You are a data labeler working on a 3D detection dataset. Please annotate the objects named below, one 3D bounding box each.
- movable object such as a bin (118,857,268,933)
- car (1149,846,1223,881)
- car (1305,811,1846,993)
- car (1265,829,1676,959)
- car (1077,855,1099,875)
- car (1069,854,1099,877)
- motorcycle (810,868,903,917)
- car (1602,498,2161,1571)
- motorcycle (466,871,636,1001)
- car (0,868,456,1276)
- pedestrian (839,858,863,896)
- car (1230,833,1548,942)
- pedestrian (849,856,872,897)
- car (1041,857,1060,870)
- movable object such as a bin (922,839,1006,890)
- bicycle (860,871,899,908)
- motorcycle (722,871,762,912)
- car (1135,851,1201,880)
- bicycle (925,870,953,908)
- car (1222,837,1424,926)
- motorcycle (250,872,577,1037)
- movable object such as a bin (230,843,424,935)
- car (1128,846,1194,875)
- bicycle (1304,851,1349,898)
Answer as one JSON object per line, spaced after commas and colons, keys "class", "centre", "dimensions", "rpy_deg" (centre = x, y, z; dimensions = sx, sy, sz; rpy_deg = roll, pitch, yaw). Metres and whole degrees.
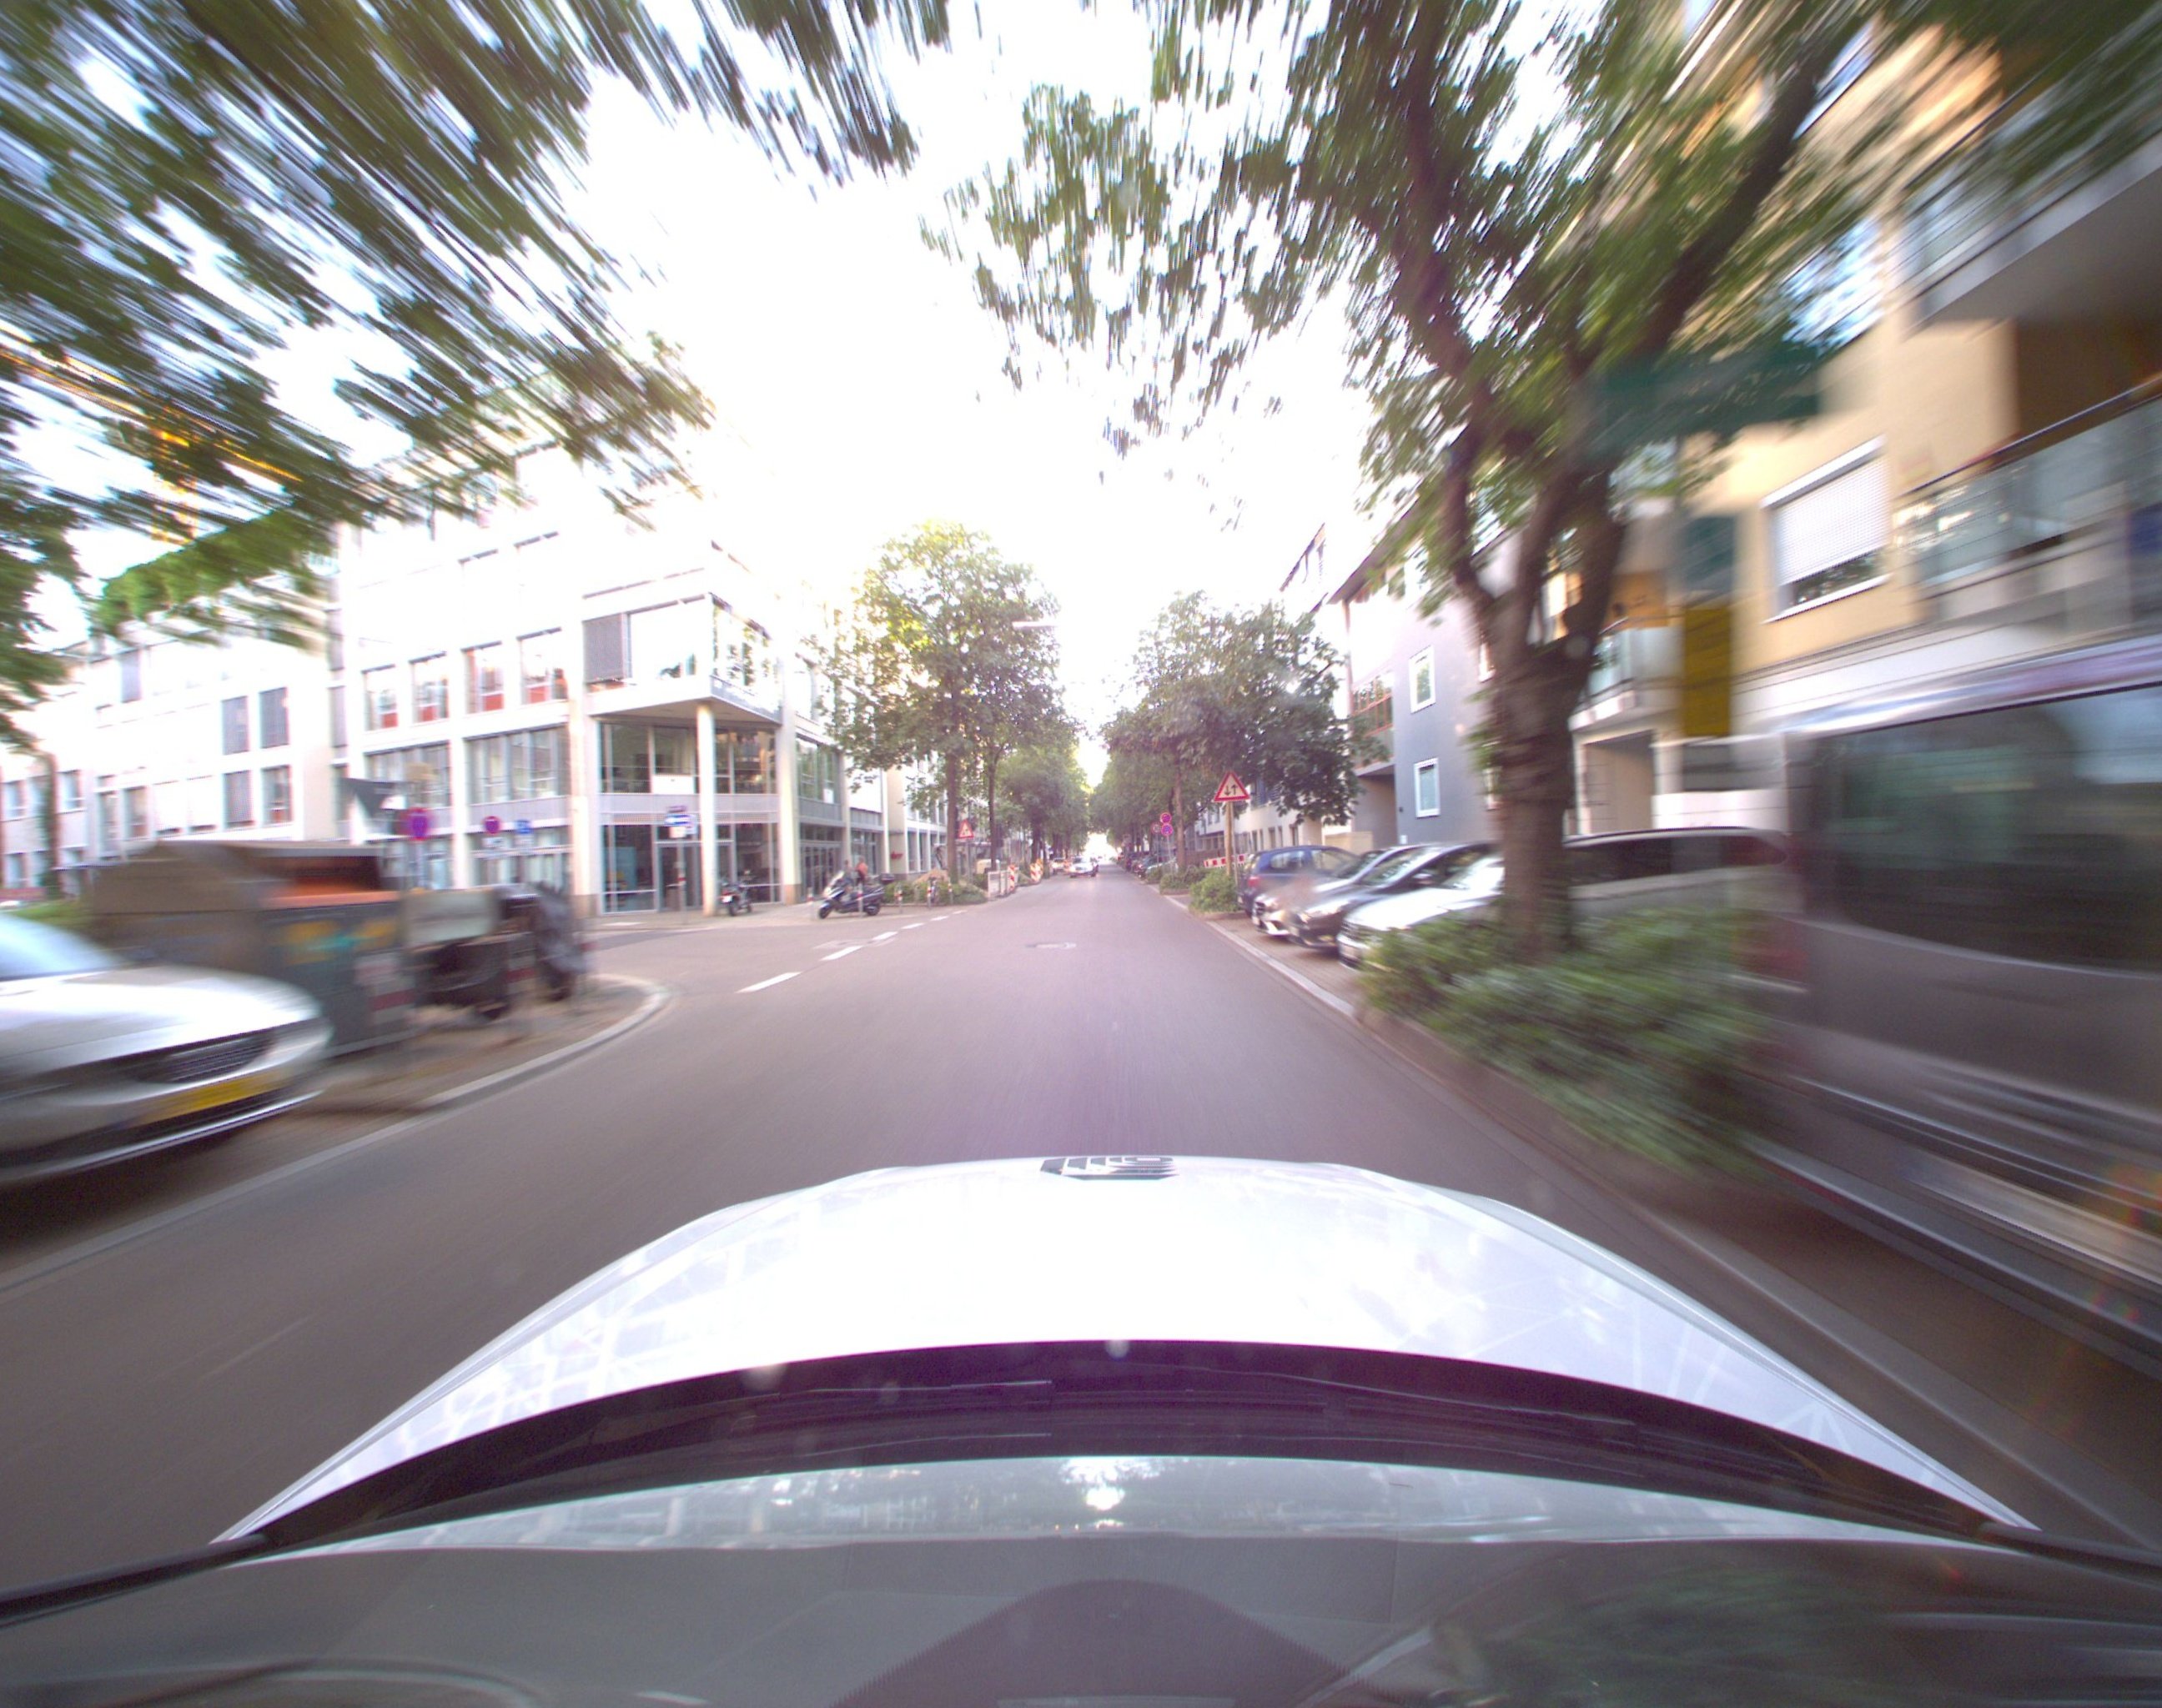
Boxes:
{"class": "movable object such as a bin", "centre": [-32.112, 1.457, 29.474], "dimensions": [4.049, 2.540, 2.297], "rpy_deg": [-2, 0, 22]}
{"class": "car", "centre": [5.916, 0.526, 46.187], "dimensions": [3.968, 1.805, 2.003], "rpy_deg": [-2, 0, 5]}
{"class": "car", "centre": [5.011, 0.460, 8.775], "dimensions": [4.607, 1.502, 1.961], "rpy_deg": [-3, 0, -1]}
{"class": "car", "centre": [5.166, 0.512, 11.375], "dimensions": [4.763, 1.520, 1.992], "rpy_deg": [-2, 0, 2]}
{"class": "car", "centre": [0.682, 1.026, 76.263], "dimensions": [1.942, 1.714, 4.703], "rpy_deg": [-2, 0, 1]}
{"class": "car", "centre": [0.192, 0.858, 61.662], "dimensions": [2.005, 1.613, 4.115], "rpy_deg": [-2, 0, -3]}
{"class": "motorcycle", "centre": [-6.594, 1.106, 23.987], "dimensions": [2.368, 1.281, 1.055], "rpy_deg": [-3, 0, -39]}
{"class": "car", "centre": [4.361, 0.263, 2.105], "dimensions": [4.585, 2.066, 2.197], "rpy_deg": [-3, 0, 0]}
{"class": "motorcycle", "centre": [-6.543, 0.956, 10.012], "dimensions": [2.225, 1.420, 0.858], "rpy_deg": [-2, 0, 32]}
{"class": "car", "centre": [-6.419, 0.937, 4.339], "dimensions": [4.599, 1.552, 2.077], "rpy_deg": [-2, 0, 3]}
{"class": "pedestrian", "centre": [-9.687, 0.959, 34.295], "dimensions": [0.767, 1.536, 0.643], "rpy_deg": [-2, 0, 1]}
{"class": "car", "centre": [5.008, 0.523, 13.773], "dimensions": [4.605, 1.571, 2.011], "rpy_deg": [-2, 0, 1]}
{"class": "pedestrian", "centre": [-9.162, 0.925, 33.845], "dimensions": [0.736, 1.690, 0.607], "rpy_deg": [-2, 0, 3]}
{"class": "car", "centre": [-3.260, 0.989, 86.922], "dimensions": [1.989, 1.288, 3.996], "rpy_deg": [-2, 0, -3]}
{"class": "movable object such as a bin", "centre": [-5.994, 0.534, 42.209], "dimensions": [4.039, 2.383, 2.780], "rpy_deg": [-2, 0, -4]}
{"class": "bicycle", "centre": [-6.820, 1.185, 27.661], "dimensions": [0.680, 1.152, 1.982], "rpy_deg": [-2, 0, 3]}
{"class": "motorcycle", "centre": [-10.659, 1.145, 25.677], "dimensions": [0.556, 1.172, 2.302], "rpy_deg": [-2, 0, -8]}
{"class": "car", "centre": [5.368, 0.699, 50.775], "dimensions": [3.970, 1.585, 2.002], "rpy_deg": [-2, 0, 3]}
{"class": "bicycle", "centre": [-4.791, 1.174, 27.650], "dimensions": [0.681, 1.152, 1.978], "rpy_deg": [-2, 0, -4]}
{"class": "car", "centre": [4.773, 0.523, 16.438], "dimensions": [3.526, 1.564, 1.832], "rpy_deg": [-2, 0, 1]}
{"class": "motorcycle", "centre": [-6.423, 0.937, 7.935], "dimensions": [2.442, 1.420, 0.912], "rpy_deg": [-2, 0, 3]}
{"class": "movable object such as a bin", "centre": [-24.071, 1.111, 25.999], "dimensions": [5.581, 2.692, 2.297], "rpy_deg": [-2, 0, 22]}
{"class": "car", "centre": [5.831, 0.490, 59.789], "dimensions": [4.722, 2.013, 2.000], "rpy_deg": [-1, 0, 0]}
{"class": "bicycle", "centre": [6.841, 0.554, 22.778], "dimensions": [0.824, 1.235, 1.806], "rpy_deg": [-2, 0, 5]}
